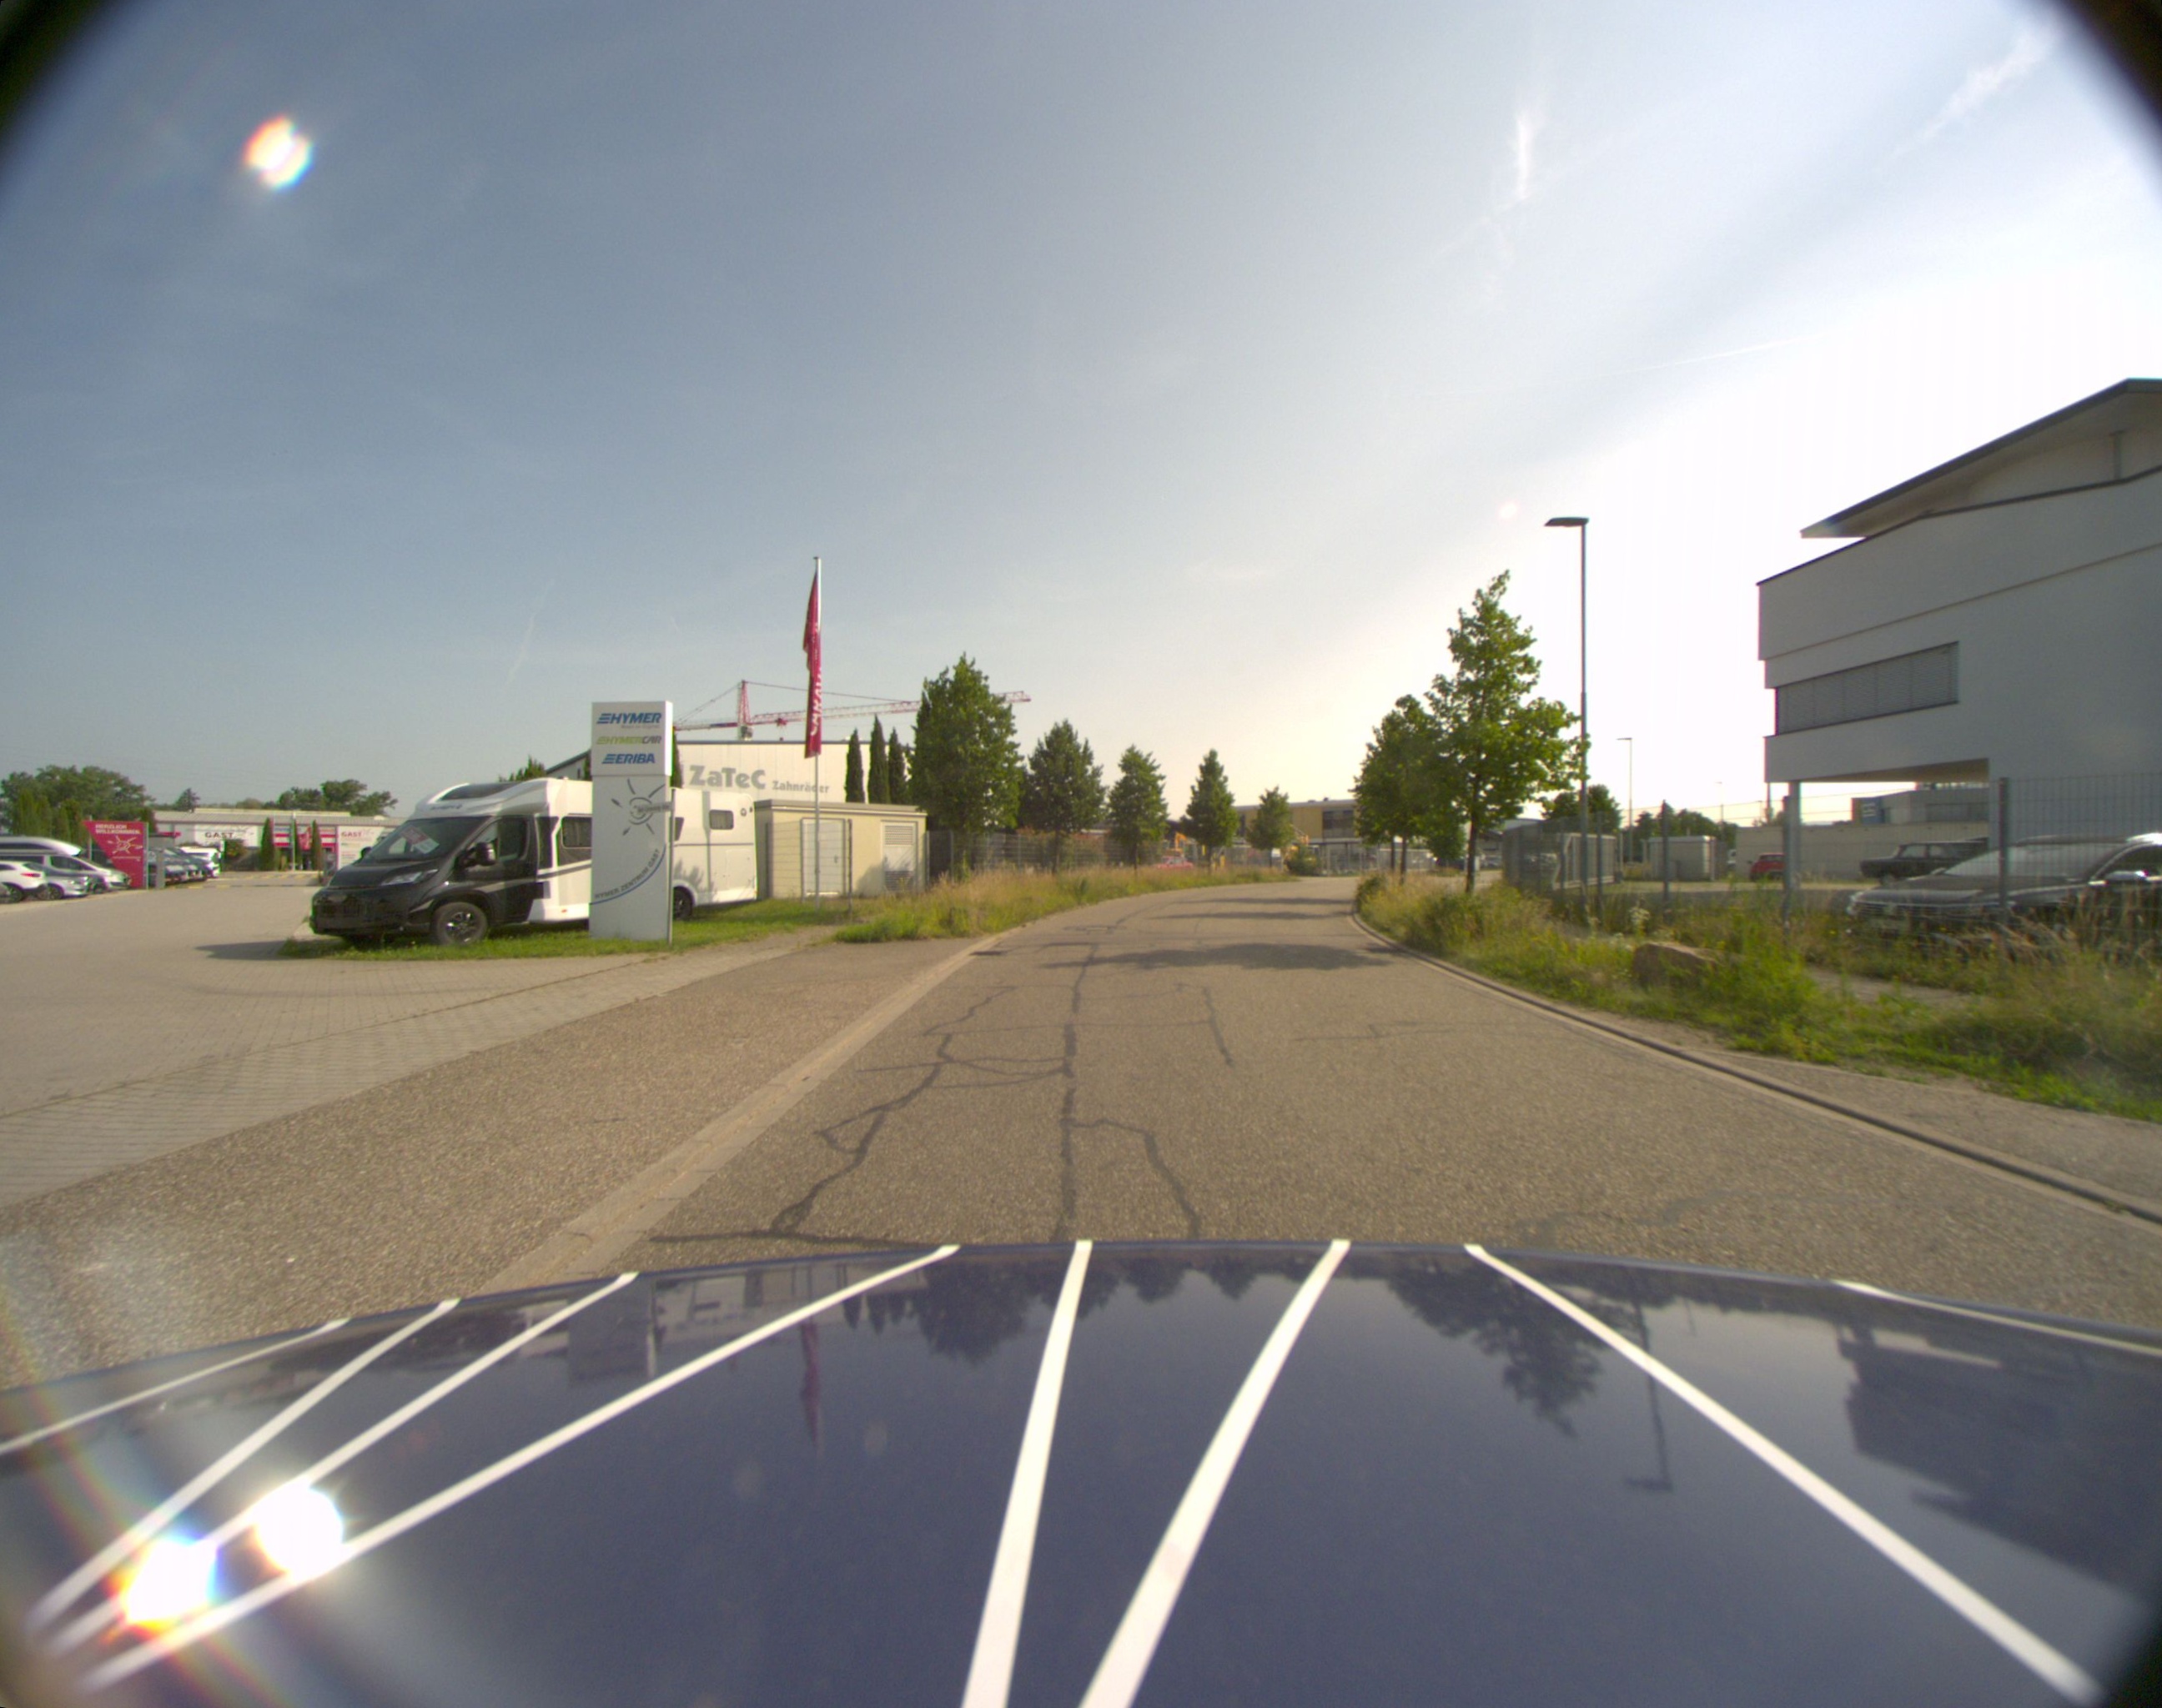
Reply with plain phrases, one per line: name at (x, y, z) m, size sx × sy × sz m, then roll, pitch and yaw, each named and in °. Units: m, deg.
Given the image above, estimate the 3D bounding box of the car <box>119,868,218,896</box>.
car at (-60.346, 1.857, 50.358) m, size 3.953 × 1.657 × 1.539 m, roll -1°, pitch -1°, yaw -39°

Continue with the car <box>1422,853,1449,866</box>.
car at (44.695, 0.655, 95.755) m, size 1.890 × 1.547 × 4.380 m, roll -1°, pitch -1°, yaw 41°

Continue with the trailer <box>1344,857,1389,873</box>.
trailer at (24.488, 0.911, 65.119) m, size 1.945 × 1.236 × 4.303 m, roll 0°, pitch 0°, yaw 45°

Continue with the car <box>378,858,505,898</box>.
car at (-27.810, 1.017, 33.142) m, size 1.710 × 1.607 × 4.009 m, roll 0°, pitch 0°, yaw 40°

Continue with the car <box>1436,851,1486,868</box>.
car at (38.661, 0.552, 77.341) m, size 4.226 × 1.727 × 1.903 m, roll -1°, pitch 0°, yaw 39°

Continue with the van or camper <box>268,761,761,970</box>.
van or camper at (-9.470, 0.098, 14.119) m, size 2.352 × 2.831 × 7.349 m, roll -1°, pitch 1°, yaw 15°

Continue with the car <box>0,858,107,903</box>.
car at (-41.660, 1.053, 29.883) m, size 3.954 × 1.659 × 1.538 m, roll -1°, pitch -2°, yaw -45°

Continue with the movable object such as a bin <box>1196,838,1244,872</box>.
movable object such as a bin at (12.719, 0.040, 69.539) m, size 4.501 × 3.014 × 1.993 m, roll -1°, pitch 0°, yaw -43°

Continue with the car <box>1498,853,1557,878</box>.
car at (28.280, 0.709, 48.043) m, size 4.441 × 1.458 × 1.995 m, roll -1°, pitch -1°, yaw -43°

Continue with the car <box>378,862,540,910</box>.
car at (-21.031, 1.039, 25.809) m, size 1.710 × 1.471 × 4.009 m, roll 0°, pitch 0°, yaw 40°

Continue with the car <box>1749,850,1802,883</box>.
car at (33.330, 0.601, 36.525) m, size 1.771 × 1.516 × 4.314 m, roll 0°, pitch -1°, yaw 41°

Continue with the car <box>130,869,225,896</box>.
car at (-61.839, 1.941, 52.104) m, size 3.953 × 1.657 × 1.539 m, roll -1°, pitch -1°, yaw -39°

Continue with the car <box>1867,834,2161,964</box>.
car at (12.466, 0.501, 9.571) m, size 3.502 × 1.445 × 1.596 m, roll -1°, pitch 0°, yaw -1°

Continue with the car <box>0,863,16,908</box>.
car at (-38.972, 1.127, 25.270) m, size 1.538 × 1.548 × 3.954 m, roll -3°, pitch -2°, yaw 43°

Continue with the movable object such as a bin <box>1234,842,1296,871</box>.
movable object such as a bin at (16.430, 0.241, 67.620) m, size 5.350 × 2.477 × 2.923 m, roll -1°, pitch 0°, yaw -43°

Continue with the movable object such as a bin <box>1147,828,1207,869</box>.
movable object such as a bin at (9.353, -0.498, 73.523) m, size 5.730 × 3.851 × 2.685 m, roll -1°, pitch 0°, yaw -43°

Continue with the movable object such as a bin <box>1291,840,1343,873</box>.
movable object such as a bin at (20.004, 0.189, 64.373) m, size 5.170 × 2.736 × 1.887 m, roll -1°, pitch 0°, yaw -43°

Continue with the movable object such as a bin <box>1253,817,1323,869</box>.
movable object such as a bin at (20.321, -0.983, 74.329) m, size 3.317 × 4.778 × 7.690 m, roll 0°, pitch 0°, yaw 45°

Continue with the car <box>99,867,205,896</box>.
car at (-58.038, 1.724, 47.552) m, size 3.953 × 1.657 × 1.539 m, roll -1°, pitch -1°, yaw -39°

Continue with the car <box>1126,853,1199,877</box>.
car at (4.927, 0.649, 45.527) m, size 1.881 × 1.350 × 4.783 m, roll 0°, pitch 0°, yaw 43°

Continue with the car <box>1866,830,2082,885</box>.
car at (24.862, 0.093, 21.394) m, size 1.562 × 1.407 × 3.922 m, roll -1°, pitch 0°, yaw 2°

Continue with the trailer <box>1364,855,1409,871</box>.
trailer at (27.624, 0.805, 68.642) m, size 4.572 × 1.303 × 1.994 m, roll -2°, pitch 1°, yaw -43°

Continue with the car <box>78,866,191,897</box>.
car at (-56.124, 1.613, 45.176) m, size 3.953 × 1.657 × 1.539 m, roll -1°, pitch -1°, yaw -39°

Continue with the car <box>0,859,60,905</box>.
car at (-40.422, 1.050, 27.475) m, size 3.954 × 1.659 × 1.538 m, roll -1°, pitch -2°, yaw -45°

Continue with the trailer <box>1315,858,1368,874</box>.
trailer at (21.100, 0.942, 61.422) m, size 2.127 × 1.236 × 4.806 m, roll 0°, pitch 0°, yaw 45°

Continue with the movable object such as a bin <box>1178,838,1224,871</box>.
movable object such as a bin at (11.255, 0.076, 71.361) m, size 4.382 × 3.014 × 1.993 m, roll -1°, pitch 0°, yaw -43°

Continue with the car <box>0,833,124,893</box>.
car at (-47.123, 0.387, 34.210) m, size 4.708 × 2.584 × 1.711 m, roll -1°, pitch 0°, yaw -39°

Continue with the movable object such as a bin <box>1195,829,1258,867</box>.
movable object such as a bin at (15.294, -0.595, 79.727) m, size 2.919 × 3.906 × 7.223 m, roll 1°, pitch 0°, yaw 45°

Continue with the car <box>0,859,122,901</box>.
car at (-43.435, 1.090, 31.792) m, size 3.954 × 1.659 × 1.538 m, roll -1°, pitch -2°, yaw -45°
